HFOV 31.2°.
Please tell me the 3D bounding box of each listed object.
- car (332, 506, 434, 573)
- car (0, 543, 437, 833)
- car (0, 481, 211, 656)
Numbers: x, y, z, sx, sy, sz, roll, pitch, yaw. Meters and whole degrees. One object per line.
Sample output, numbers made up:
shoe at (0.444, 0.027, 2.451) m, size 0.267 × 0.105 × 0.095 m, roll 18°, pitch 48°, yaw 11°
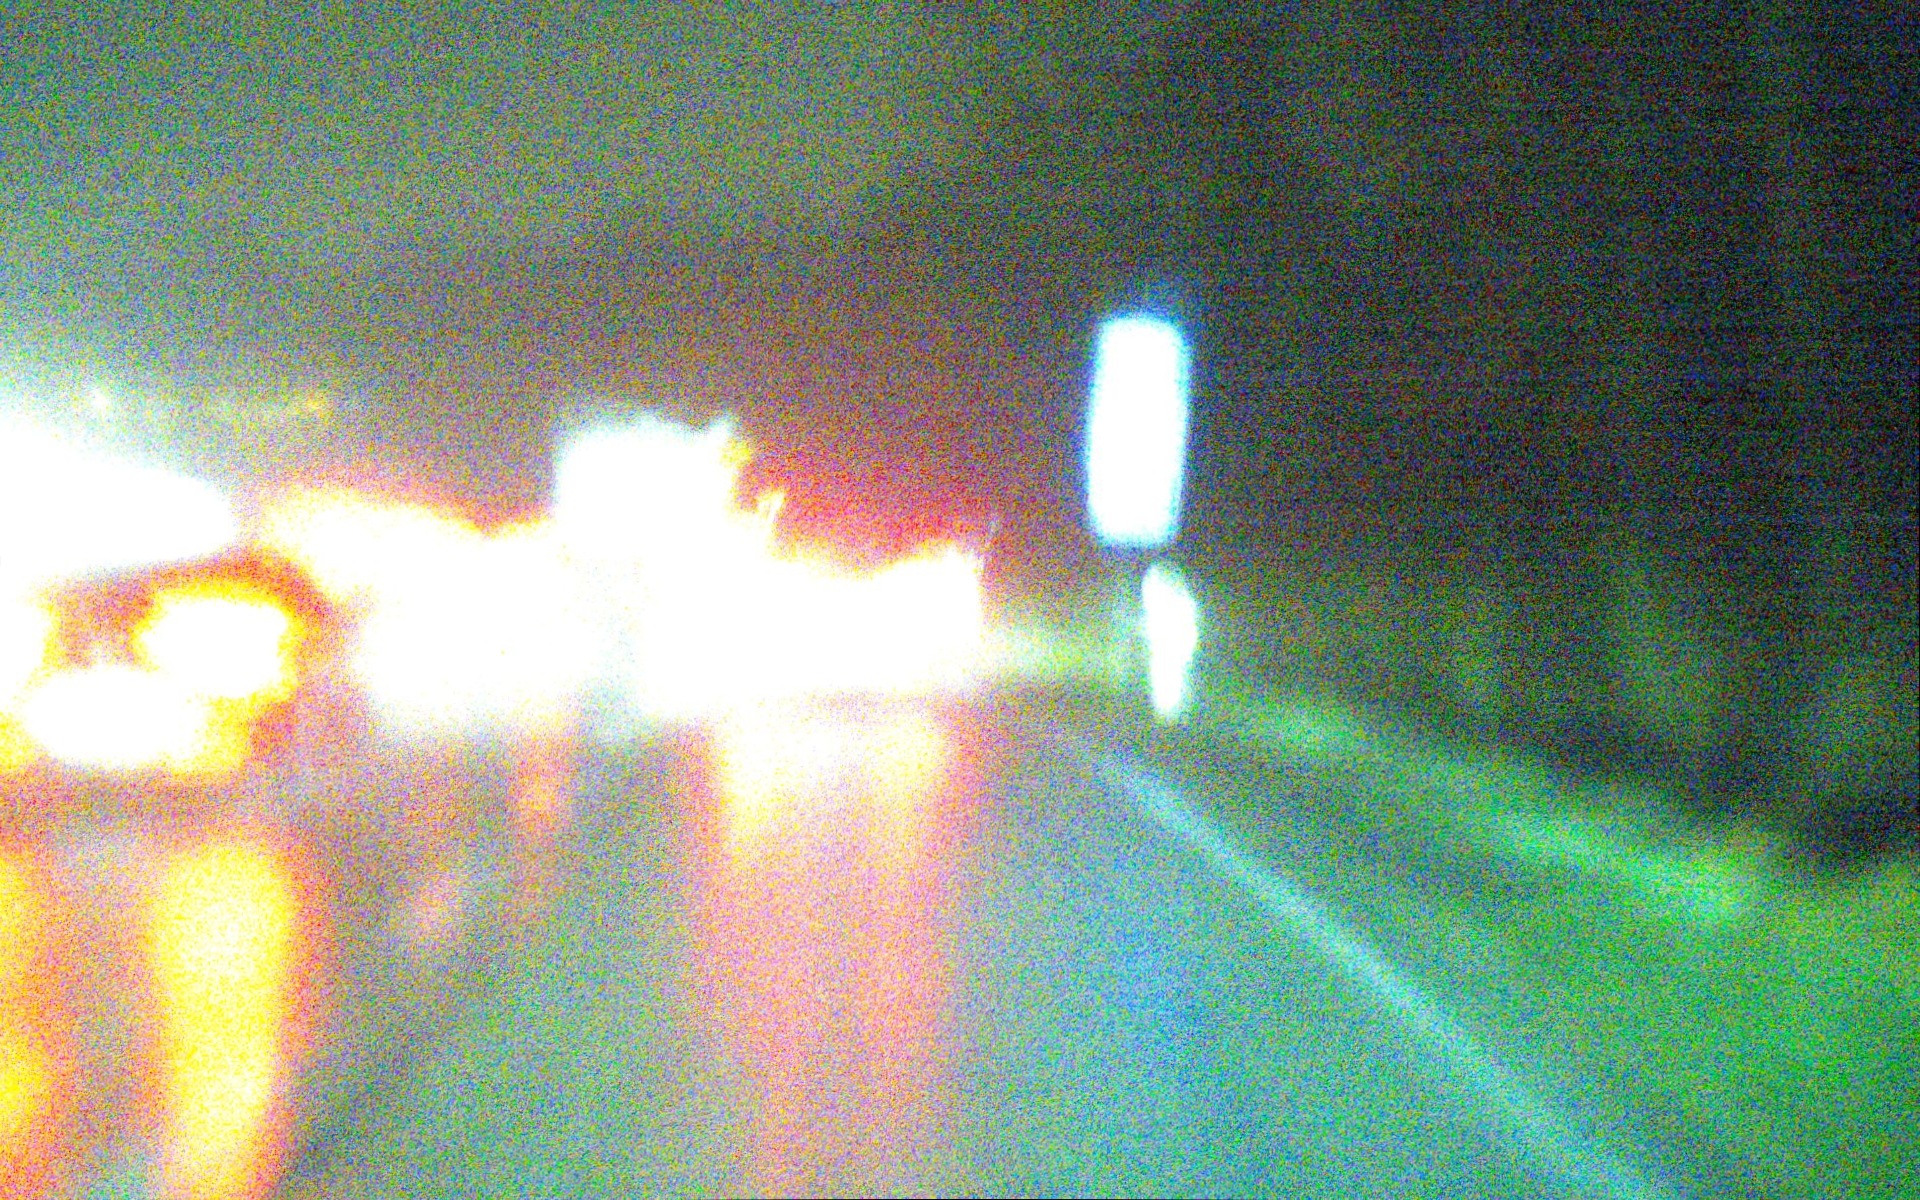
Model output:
car at (-13.986, -1.465, 83.526) m, size 1.892 × 1.545 × 4.000 m, roll 1°, pitch 1°, yaw -2°
car at (-4.282, 0.408, 19.023) m, size 1.962 × 1.376 × 4.049 m, roll 2°, pitch 1°, yaw 2°
car at (-8.503, -0.336, 32.519) m, size 1.767 × 1.512 × 4.915 m, roll 1°, pitch 1°, yaw 0°
